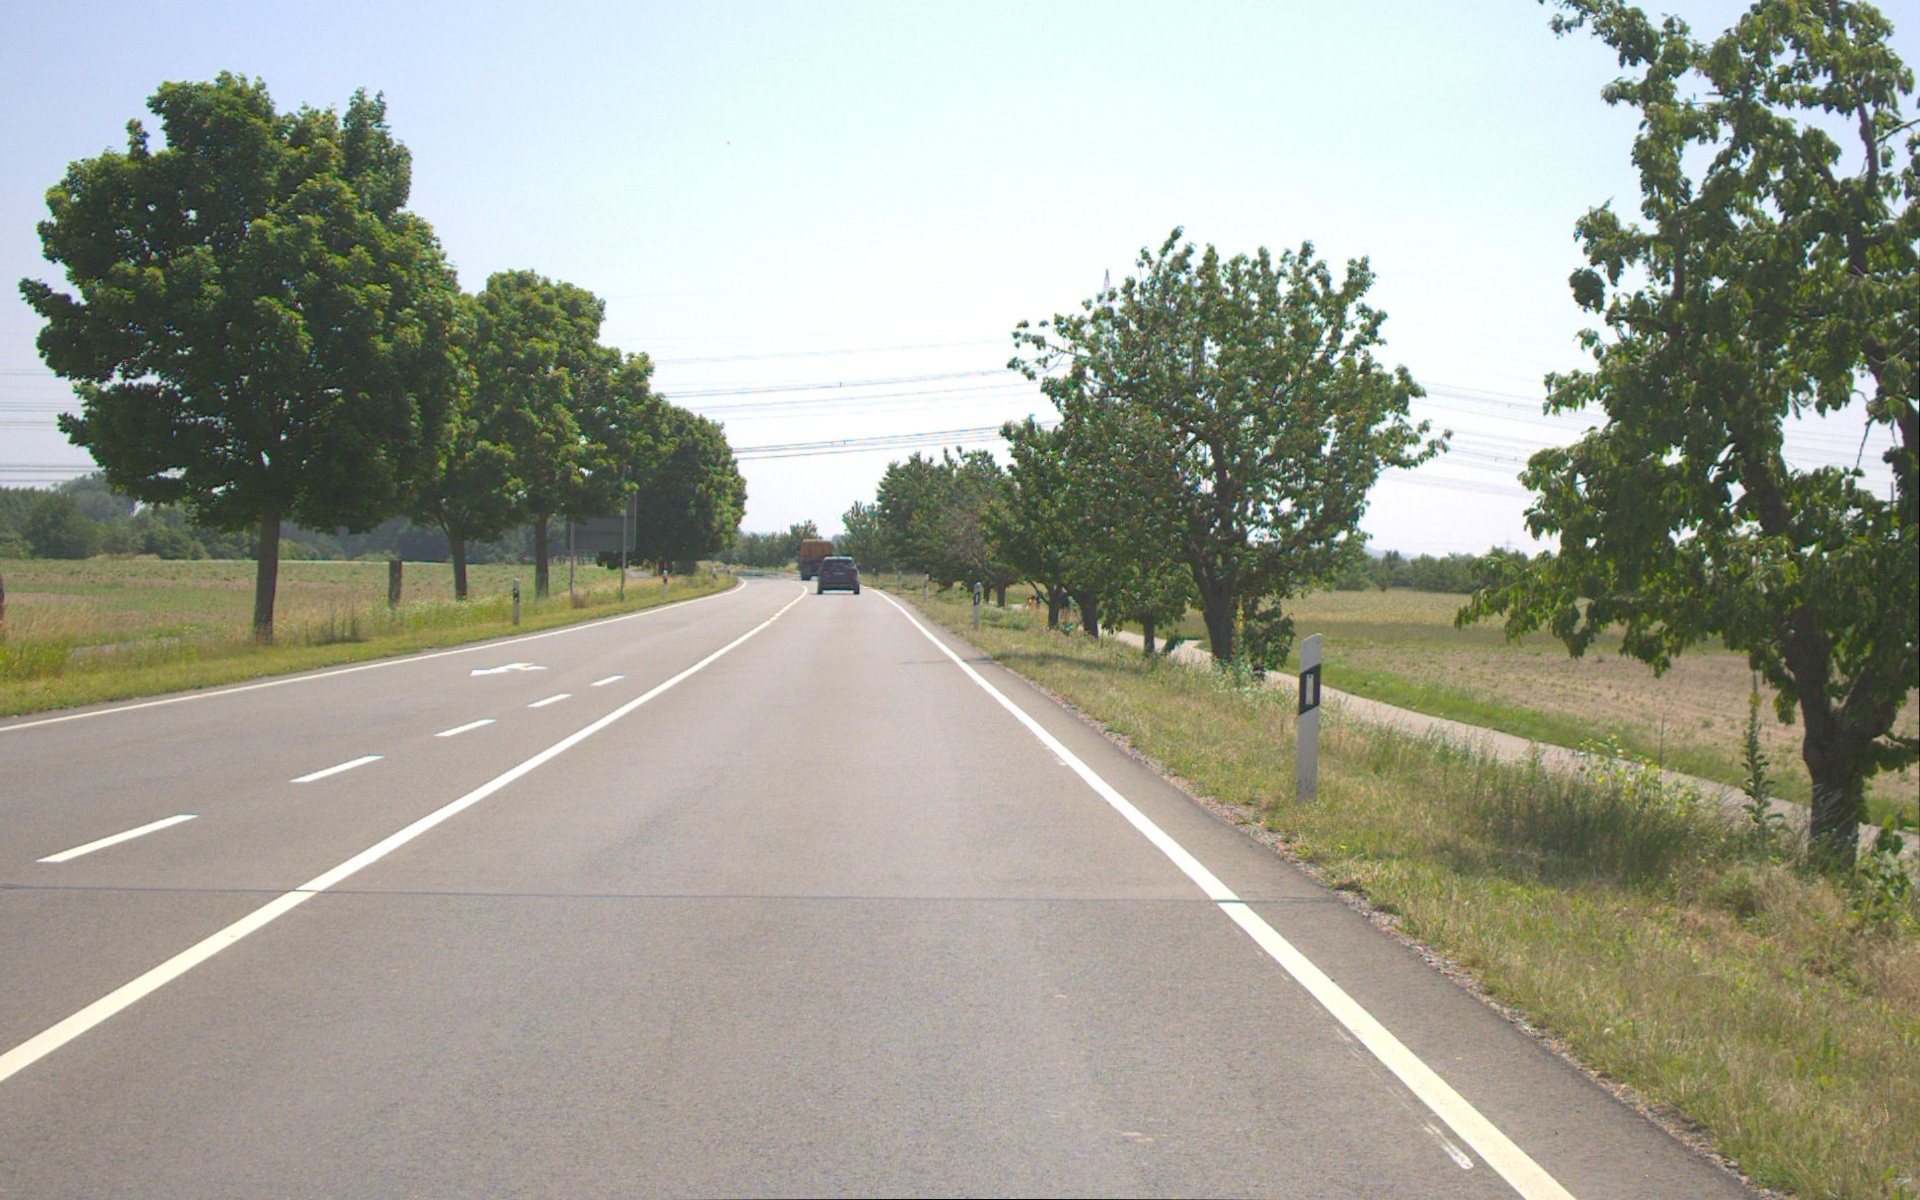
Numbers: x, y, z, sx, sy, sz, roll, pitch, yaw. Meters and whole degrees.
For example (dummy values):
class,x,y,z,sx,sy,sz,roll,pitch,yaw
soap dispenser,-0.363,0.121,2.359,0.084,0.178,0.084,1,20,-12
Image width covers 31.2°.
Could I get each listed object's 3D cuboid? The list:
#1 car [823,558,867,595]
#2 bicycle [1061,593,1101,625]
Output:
class,x,y,z,sx,sy,sz,roll,pitch,yaw
car,-5.177,-1.064,154.488,1.884,1.513,4.040,4,1,-2
bicycle,4.876,0.344,138.607,1.218,1.161,2.436,4,1,-6
